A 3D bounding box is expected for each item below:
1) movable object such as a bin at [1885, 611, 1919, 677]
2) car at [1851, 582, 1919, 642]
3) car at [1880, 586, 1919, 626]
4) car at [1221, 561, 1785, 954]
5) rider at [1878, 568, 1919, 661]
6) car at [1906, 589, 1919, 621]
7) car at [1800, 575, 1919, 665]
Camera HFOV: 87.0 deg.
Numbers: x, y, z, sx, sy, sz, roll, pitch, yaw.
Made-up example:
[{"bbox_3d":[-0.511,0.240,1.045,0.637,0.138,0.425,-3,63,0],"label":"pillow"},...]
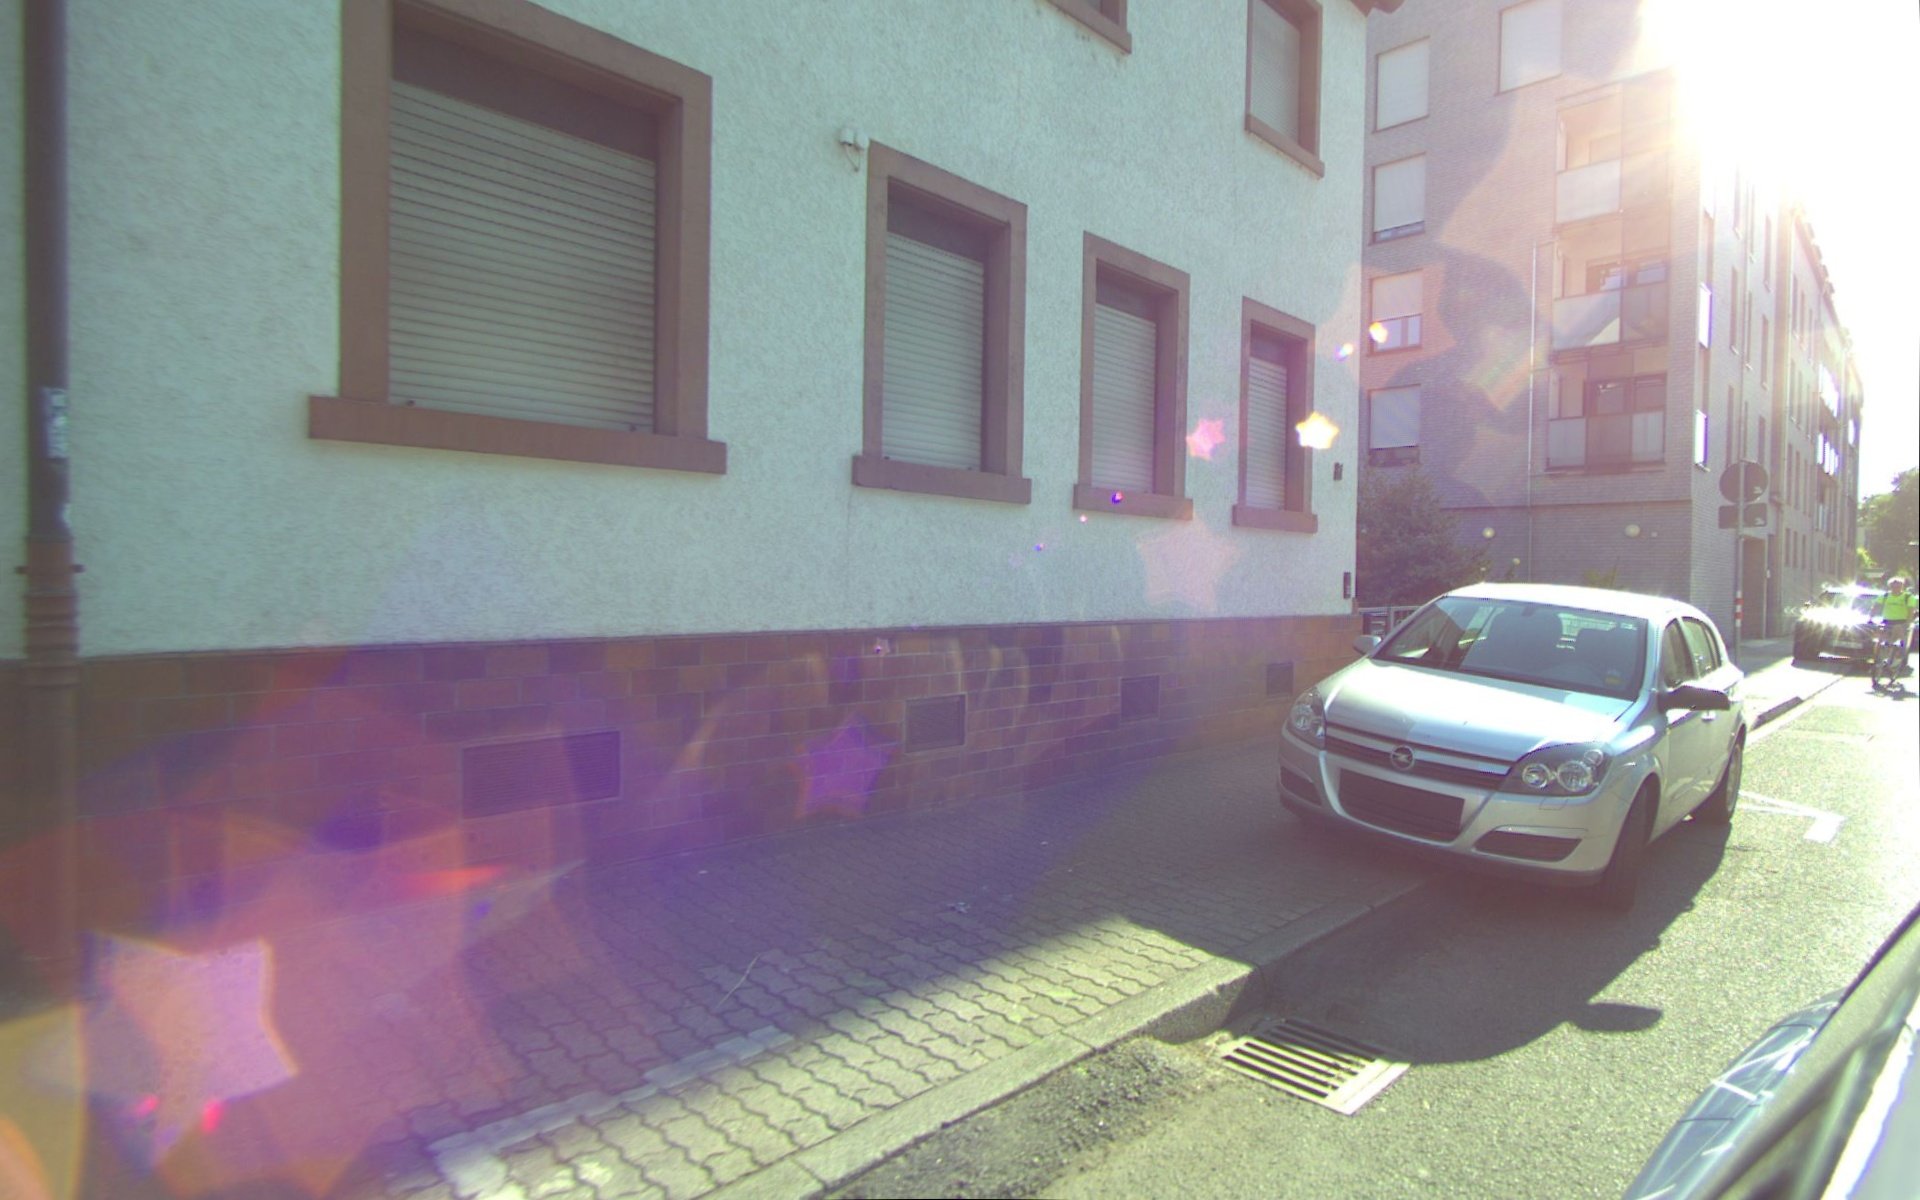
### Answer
[{"bbox_3d":[16.814,0.761,18.044,0.454,1.046,1.812,-2,1,43],"label":"movable object such as a bin"},{"bbox_3d":[28.950,0.356,31.292,1.993,1.673,4.689,3,2,42],"label":"car"},{"bbox_3d":[43.251,0.283,45.785,4.690,1.733,1.893,0,1,-41],"label":"car"},{"bbox_3d":[3.559,0.592,6.183,4.365,1.510,1.743,-1,4,-44],"label":"car"},{"bbox_3d":[16.777,0.244,17.981,0.653,1.581,1.067,-2,0,43],"label":"rider"},{"bbox_3d":[47.722,0.266,49.642,1.816,1.484,4.204,3,3,43],"label":"car"},{"bbox_3d":[20.024,0.378,22.253,4.547,1.656,1.857,0,4,-45],"label":"car"}]
